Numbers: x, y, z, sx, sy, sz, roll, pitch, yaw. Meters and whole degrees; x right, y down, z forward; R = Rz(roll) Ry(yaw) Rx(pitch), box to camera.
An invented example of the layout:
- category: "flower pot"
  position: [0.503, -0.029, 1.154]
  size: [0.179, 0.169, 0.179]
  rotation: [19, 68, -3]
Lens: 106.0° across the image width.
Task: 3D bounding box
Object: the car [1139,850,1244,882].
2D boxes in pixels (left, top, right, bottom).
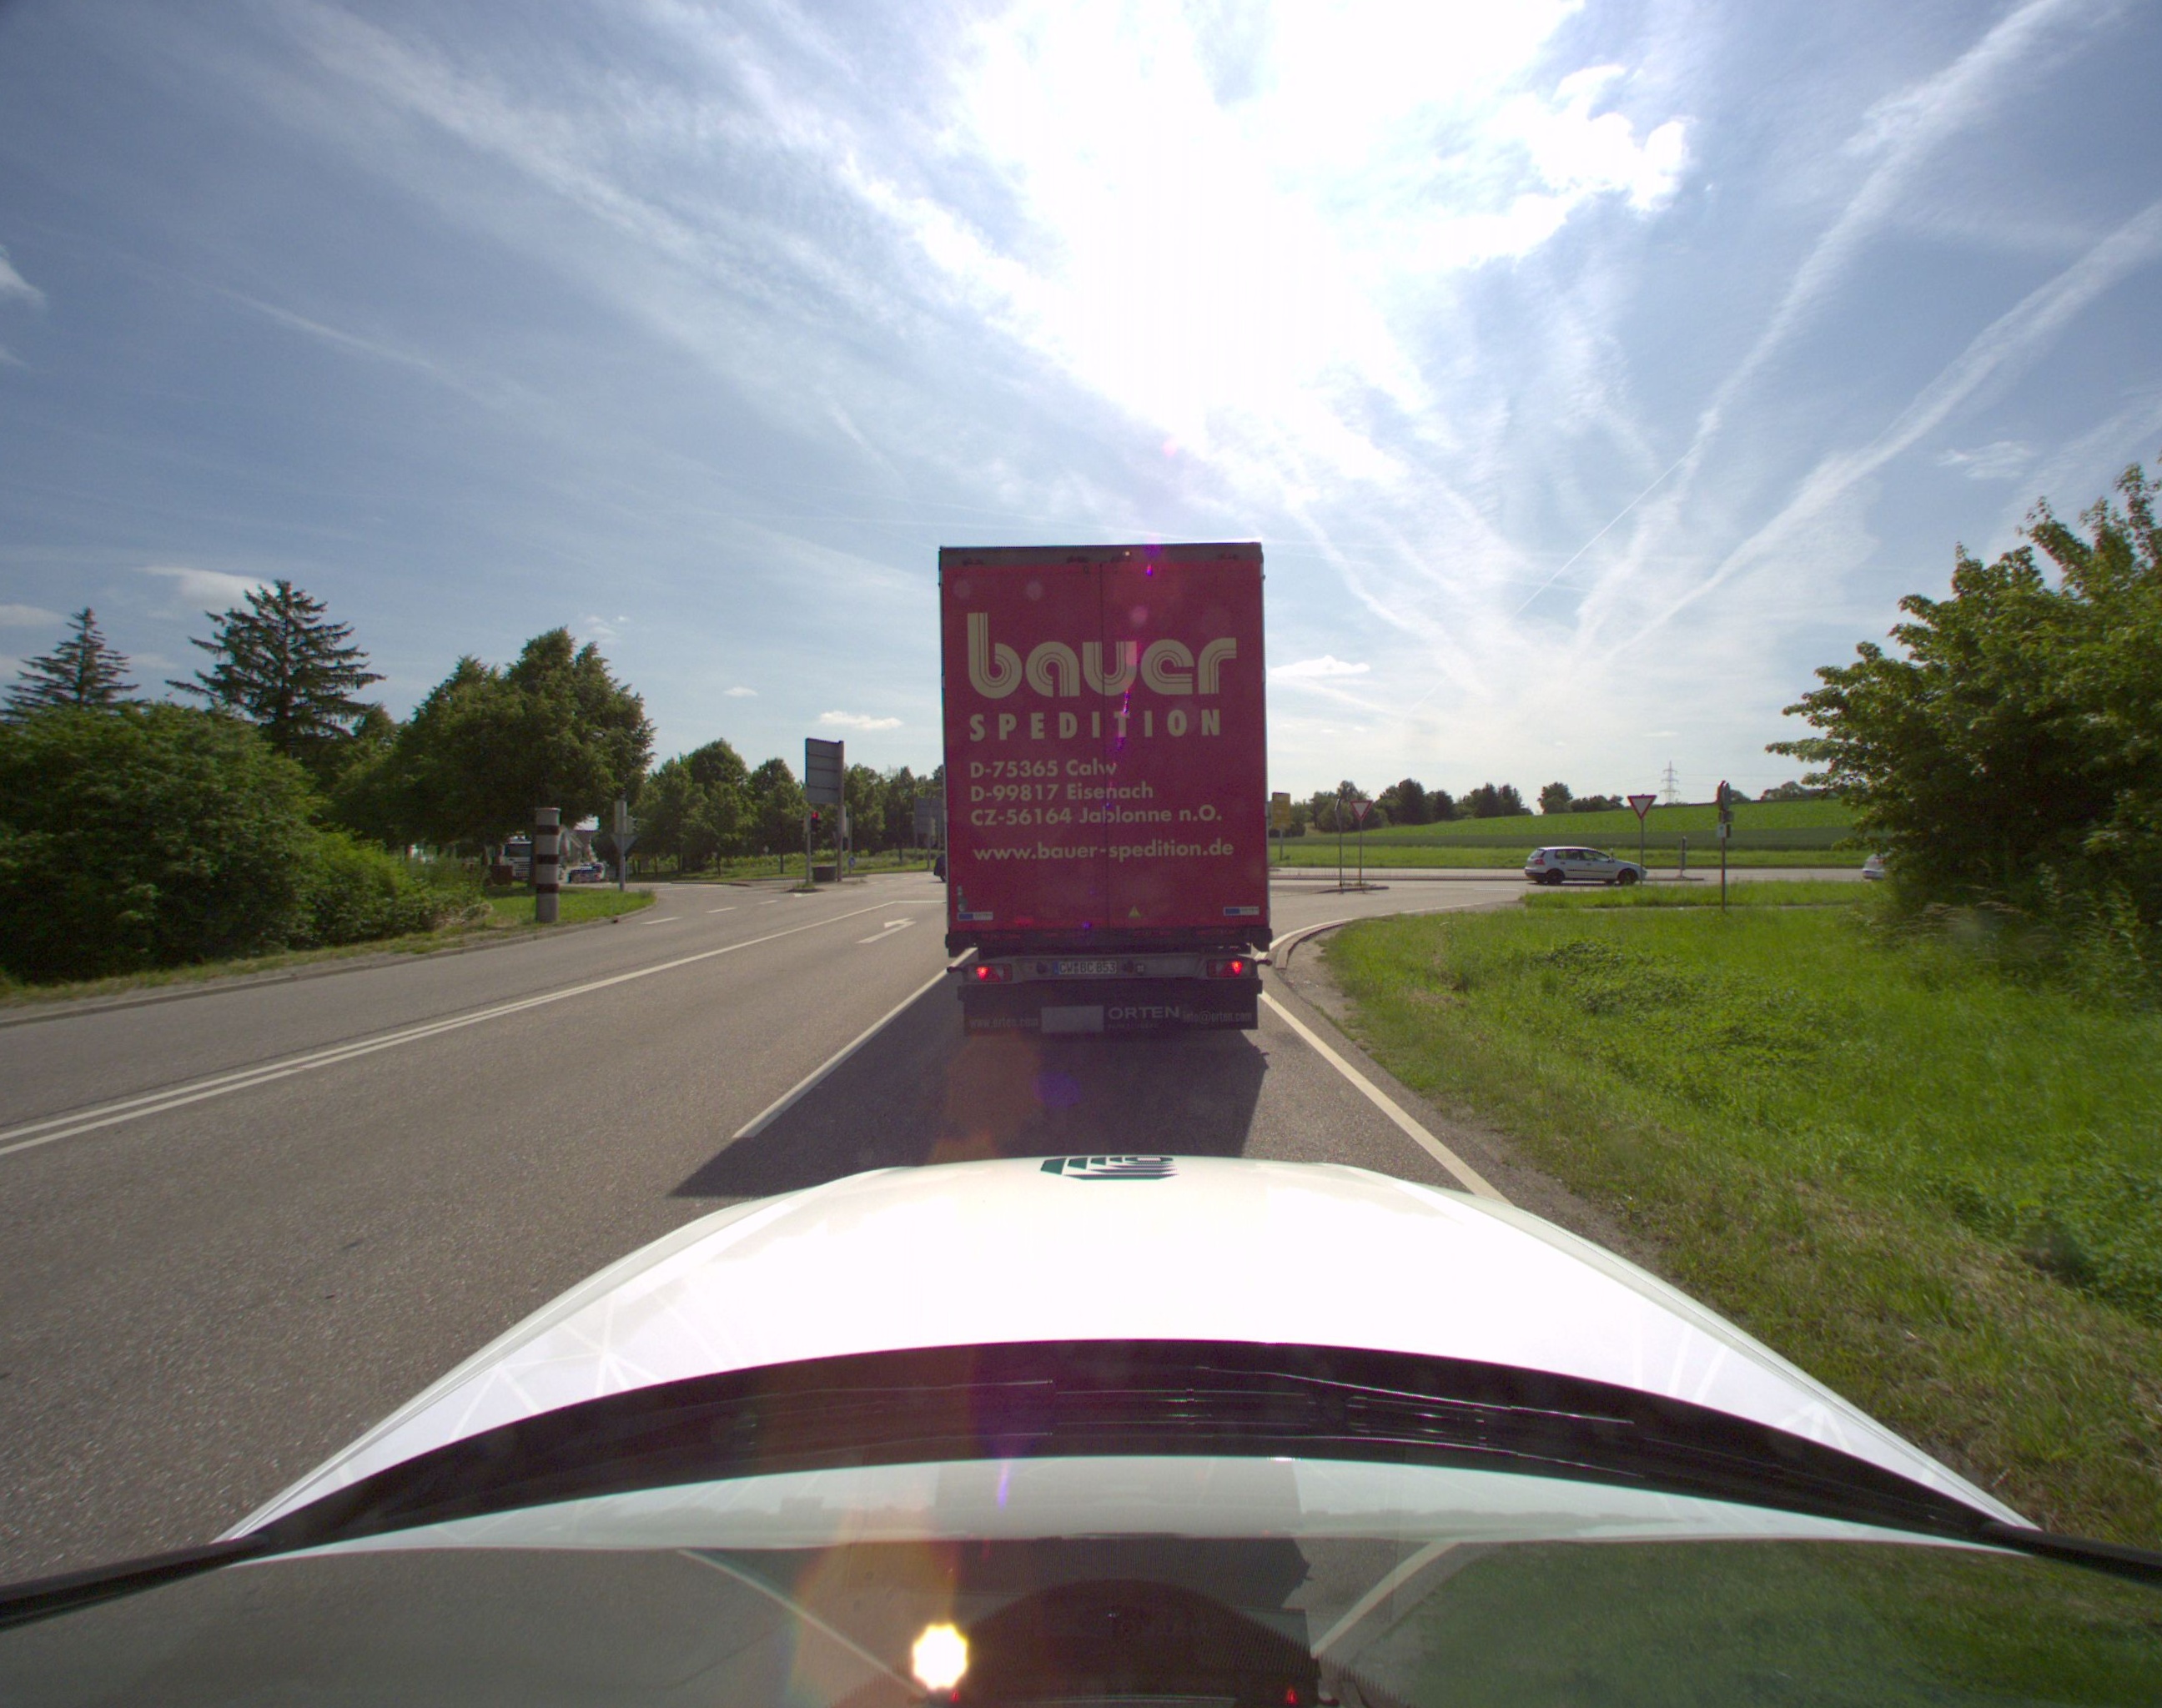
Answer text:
- category: "car"
  position: [4.760, 0.511, 34.813]
  size: [4.235, 1.305, 1.749]
  rotation: [0, -1, 15]

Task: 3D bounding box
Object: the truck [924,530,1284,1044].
- category: "truck"
  position: [0.406, -0.569, 14.584]
  size: [2.724, 3.925, 16.631]
  rotation: [-1, 0, 2]

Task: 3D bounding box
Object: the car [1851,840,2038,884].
- category: "car"
  position: [30.541, 0.283, 28.958]
  size: [4.213, 1.461, 1.818]
  rotation: [0, 0, 17]

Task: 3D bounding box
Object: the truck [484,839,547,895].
- category: "truck"
  position: [-40.954, 0.950, 58.902]
  size: [2.962, 3.798, 7.833]
  rotation: [0, -1, -41]

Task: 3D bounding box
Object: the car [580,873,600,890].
- category: "car"
  position: [-46.500, 2.577, 77.070]
  size: [1.543, 1.491, 3.968]
  rotation: [0, -1, -32]

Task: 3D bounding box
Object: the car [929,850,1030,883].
- category: "car"
  position: [-4.662, 0.572, 37.588]
  size: [4.235, 1.429, 1.749]
  rotation: [0, -1, 15]

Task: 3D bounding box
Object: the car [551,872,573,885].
- category: "car"
  position: [-57.534, 2.705, 90.278]
  size: [1.746, 1.305, 4.242]
  rotation: [-1, 0, -28]

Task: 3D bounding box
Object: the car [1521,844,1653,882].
- category: "car"
  position: [19.670, 0.351, 31.824]
  size: [4.006, 1.417, 1.802]
  rotation: [0, -1, 13]

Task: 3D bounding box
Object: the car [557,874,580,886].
- category: "car"
  position: [-62.669, 3.216, 99.704]
  size: [1.678, 1.357, 3.831]
  rotation: [-2, -1, -22]

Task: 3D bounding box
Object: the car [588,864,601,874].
- category: "car"
  position: [-82.815, 2.550, 138.745]
  size: [1.764, 1.750, 3.963]
  rotation: [0, -1, -29]

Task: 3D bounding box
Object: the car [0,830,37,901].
- category: "car"
  position: [-35.462, 0.335, 24.462]
  size: [4.601, 2.180, 1.985]
  rotation: [0, 0, -22]
